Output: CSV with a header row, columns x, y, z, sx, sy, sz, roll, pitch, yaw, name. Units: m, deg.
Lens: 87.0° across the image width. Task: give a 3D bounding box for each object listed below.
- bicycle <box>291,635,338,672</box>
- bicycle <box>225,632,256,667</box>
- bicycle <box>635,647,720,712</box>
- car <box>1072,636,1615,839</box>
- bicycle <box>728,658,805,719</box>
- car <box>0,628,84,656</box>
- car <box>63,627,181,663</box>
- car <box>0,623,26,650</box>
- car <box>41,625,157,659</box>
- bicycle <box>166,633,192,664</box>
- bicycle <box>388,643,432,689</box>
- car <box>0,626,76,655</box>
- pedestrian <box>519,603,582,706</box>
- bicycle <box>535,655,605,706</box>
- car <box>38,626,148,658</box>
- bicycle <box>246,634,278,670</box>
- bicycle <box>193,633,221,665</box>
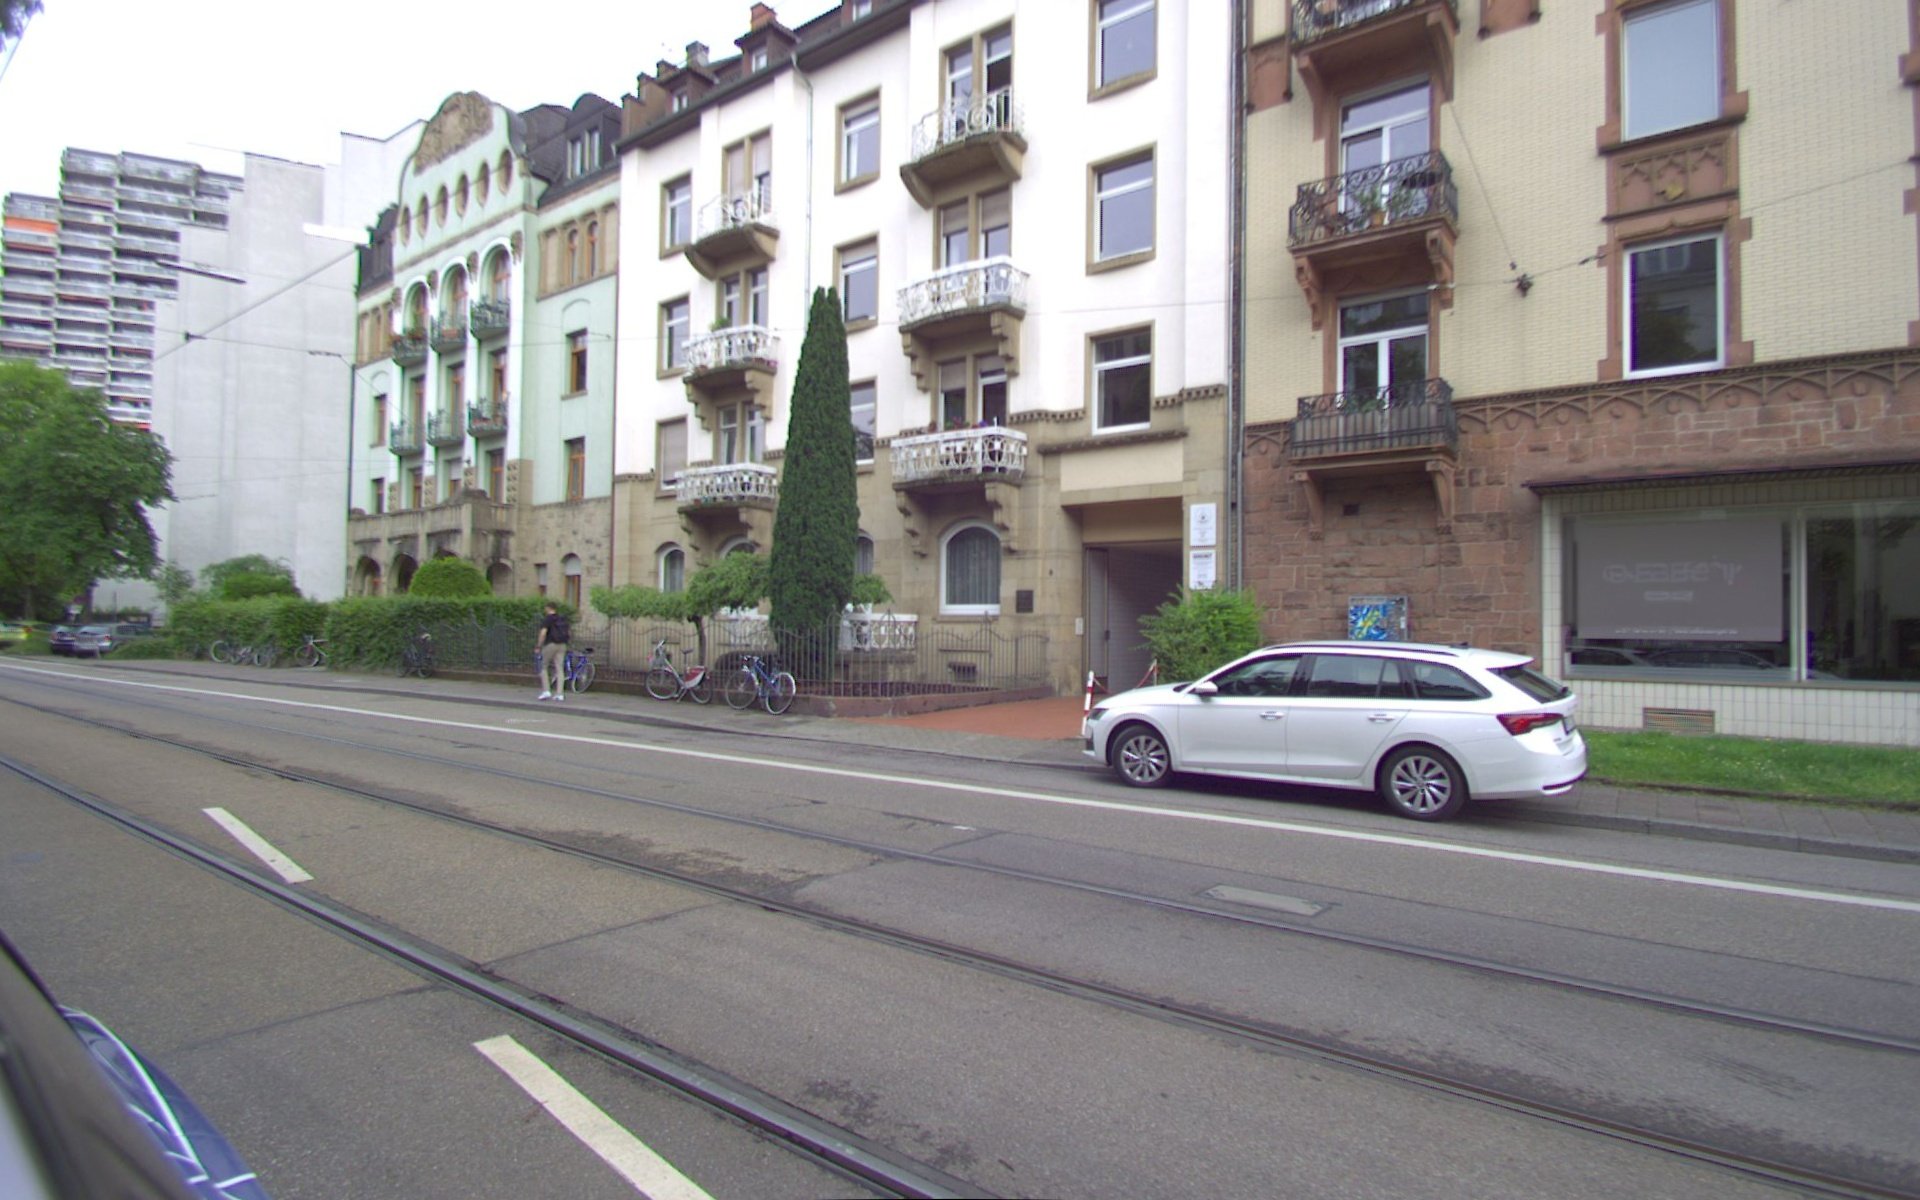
x,y,z,sx,sy,sz,roll,pitch,yaw,name
-20.047,1.657,31.452,0.300,1.091,1.190,-1,-1,40,bicycle
-23.254,1.601,32.684,1.544,1.092,0.356,-1,-3,38,bicycle
-5.103,1.418,18.262,1.617,1.110,0.382,0,-3,27,bicycle
3.498,1.121,9.745,4.602,1.496,1.730,-1,-3,38,car
-3.215,1.449,16.773,1.513,0.945,0.329,-1,-3,38,bicycle
-47.684,2.155,52.234,1.669,1.405,4.004,1,-2,-5,car
-34.928,1.860,42.332,1.671,1.414,4.001,1,-2,-2,car
-57.873,2.138,59.917,1.669,1.632,4.004,1,-2,-5,car
-37.258,1.823,43.946,1.671,1.414,4.001,1,-2,-2,car
-28.267,1.733,36.612,1.544,1.092,0.356,-1,-3,38,bicycle
-13.661,1.627,25.119,1.544,1.092,0.356,-1,-3,38,bicycle
-49.935,2.171,54.303,1.669,1.453,4.004,1,-2,-5,car
-7.596,0.999,18.772,0.881,1.858,0.661,-1,-3,37,pedestrian
-8.016,1.629,20.766,1.660,0.935,0.355,-2,-22,41,bicycle
-39.537,1.921,46.289,1.671,1.414,4.001,1,-2,-2,car
-21.695,1.619,31.450,1.544,1.092,0.356,-1,-3,38,bicycle
-25.930,1.674,34.852,1.544,1.092,0.356,-1,-3,38,bicycle
